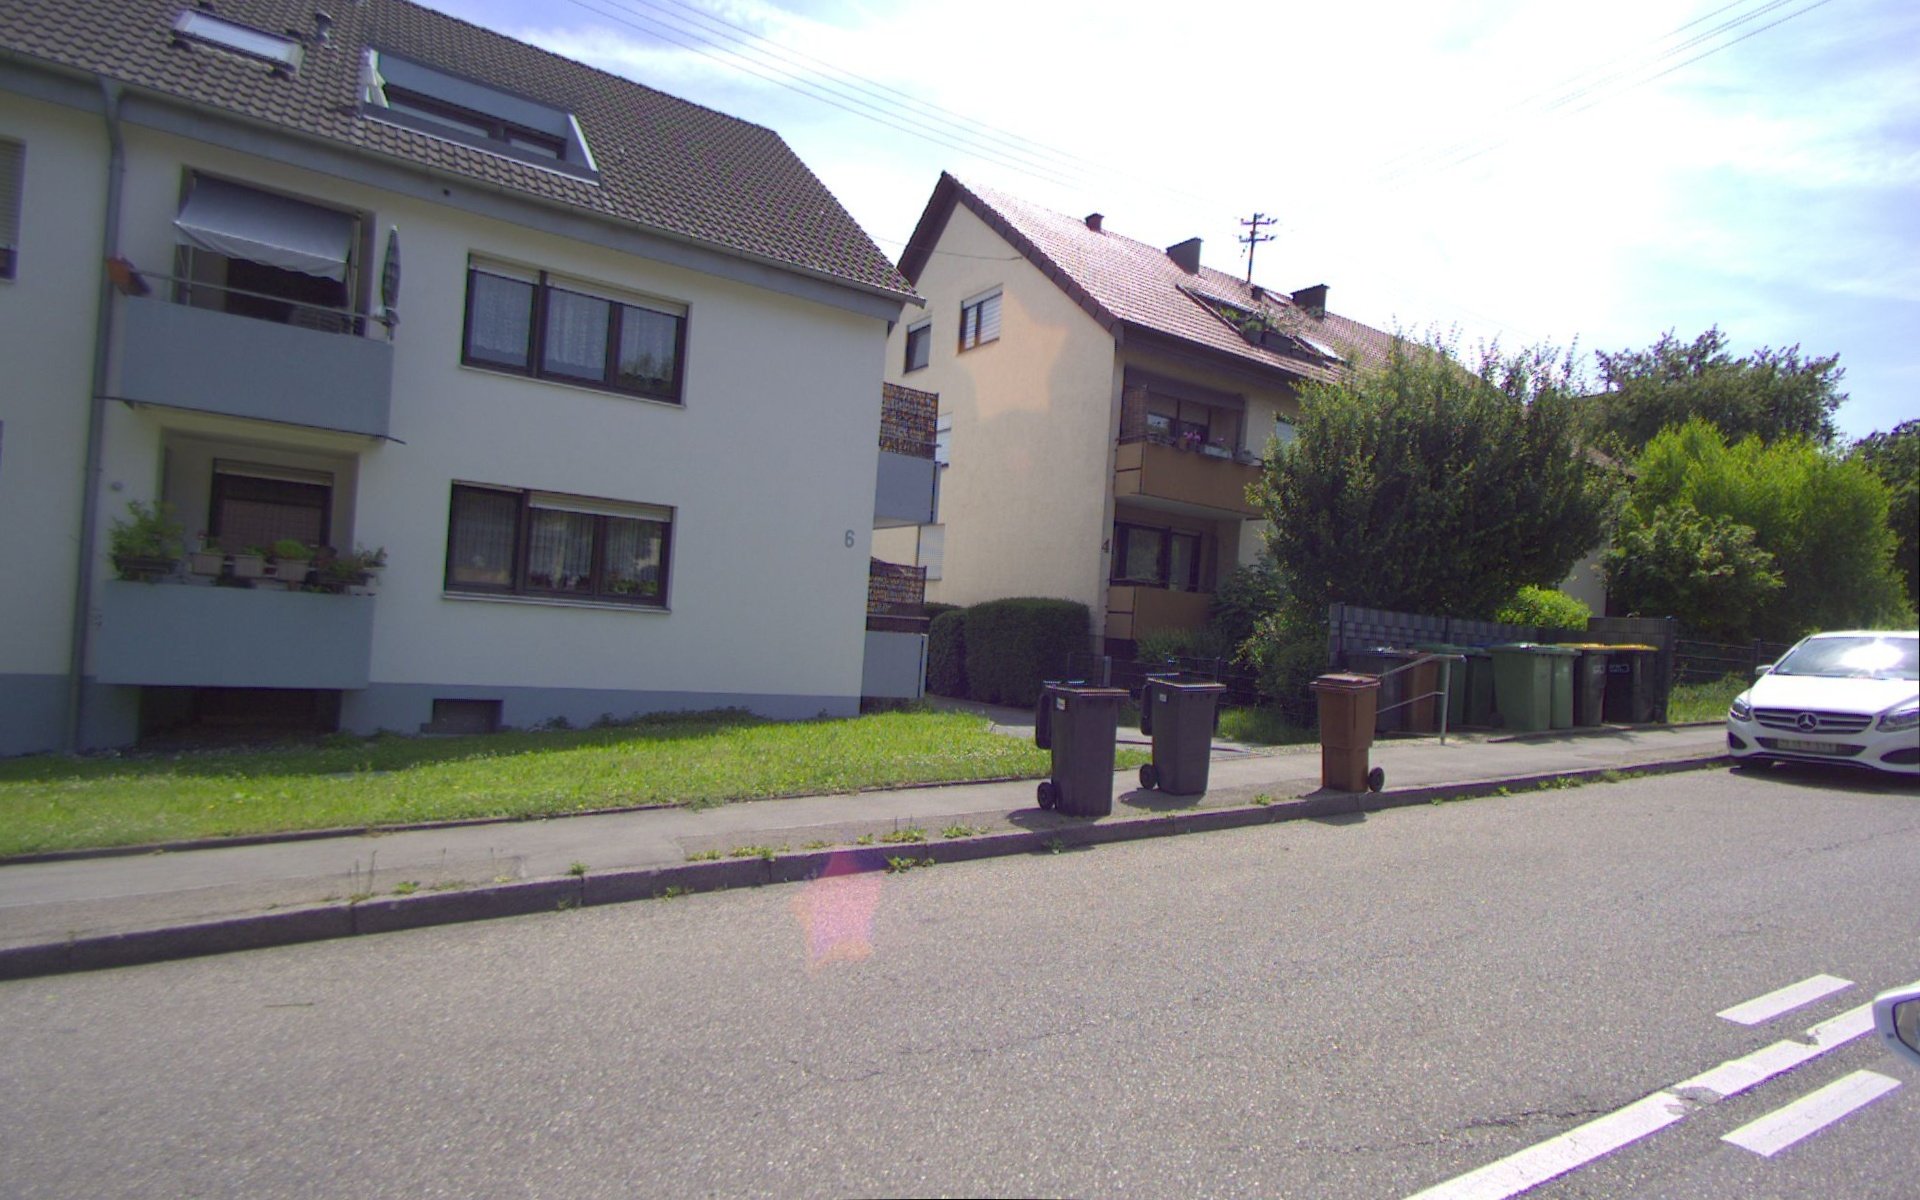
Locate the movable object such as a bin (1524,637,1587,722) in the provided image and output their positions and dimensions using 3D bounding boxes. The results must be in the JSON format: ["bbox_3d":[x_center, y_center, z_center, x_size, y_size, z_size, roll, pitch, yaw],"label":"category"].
[{"bbox_3d":[7.620,1.009,12.857,0.552,1.057,0.455,3,-3,-24],"label":"movable object such as a bin"}]

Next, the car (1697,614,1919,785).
[{"bbox_3d":[10.303,1.015,11.345,4.197,1.570,1.801,2,-1,-33],"label":"car"}]

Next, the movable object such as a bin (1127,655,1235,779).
[{"bbox_3d":[1.785,0.929,8.128,0.633,0.930,0.562,2,-1,-24],"label":"movable object such as a bin"}]

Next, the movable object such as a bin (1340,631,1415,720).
[{"bbox_3d":[5.387,0.966,12.978,0.641,1.111,0.601,2,-1,-24],"label":"movable object such as a bin"}]

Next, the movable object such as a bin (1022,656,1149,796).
[{"bbox_3d":[0.900,0.889,7.280,0.676,0.930,0.618,2,-1,-24],"label":"movable object such as a bin"}]

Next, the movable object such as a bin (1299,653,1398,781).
[{"bbox_3d":[3.208,0.950,8.314,0.555,1.001,0.505,2,-1,-24],"label":"movable object such as a bin"}]

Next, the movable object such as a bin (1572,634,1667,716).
[{"bbox_3d":[9.319,1.039,14.213,0.687,1.084,0.895,2,-1,-30],"label":"movable object such as a bin"}]

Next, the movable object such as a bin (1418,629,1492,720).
[{"bbox_3d":[6.722,1.008,13.655,0.829,1.193,0.475,2,-1,-25],"label":"movable object such as a bin"}]

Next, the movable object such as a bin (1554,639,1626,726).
[{"bbox_3d":[8.291,1.079,13.219,0.700,1.119,0.495,3,-3,-24],"label":"movable object such as a bin"}]

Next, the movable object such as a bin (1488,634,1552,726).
[{"bbox_3d":[7.034,0.997,12.622,0.523,1.118,0.514,3,-3,-31],"label":"movable object such as a bin"}]

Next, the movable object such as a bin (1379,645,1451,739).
[{"bbox_3d":[6.023,1.201,13.299,0.665,1.193,0.545,2,-1,-25],"label":"movable object such as a bin"}]
